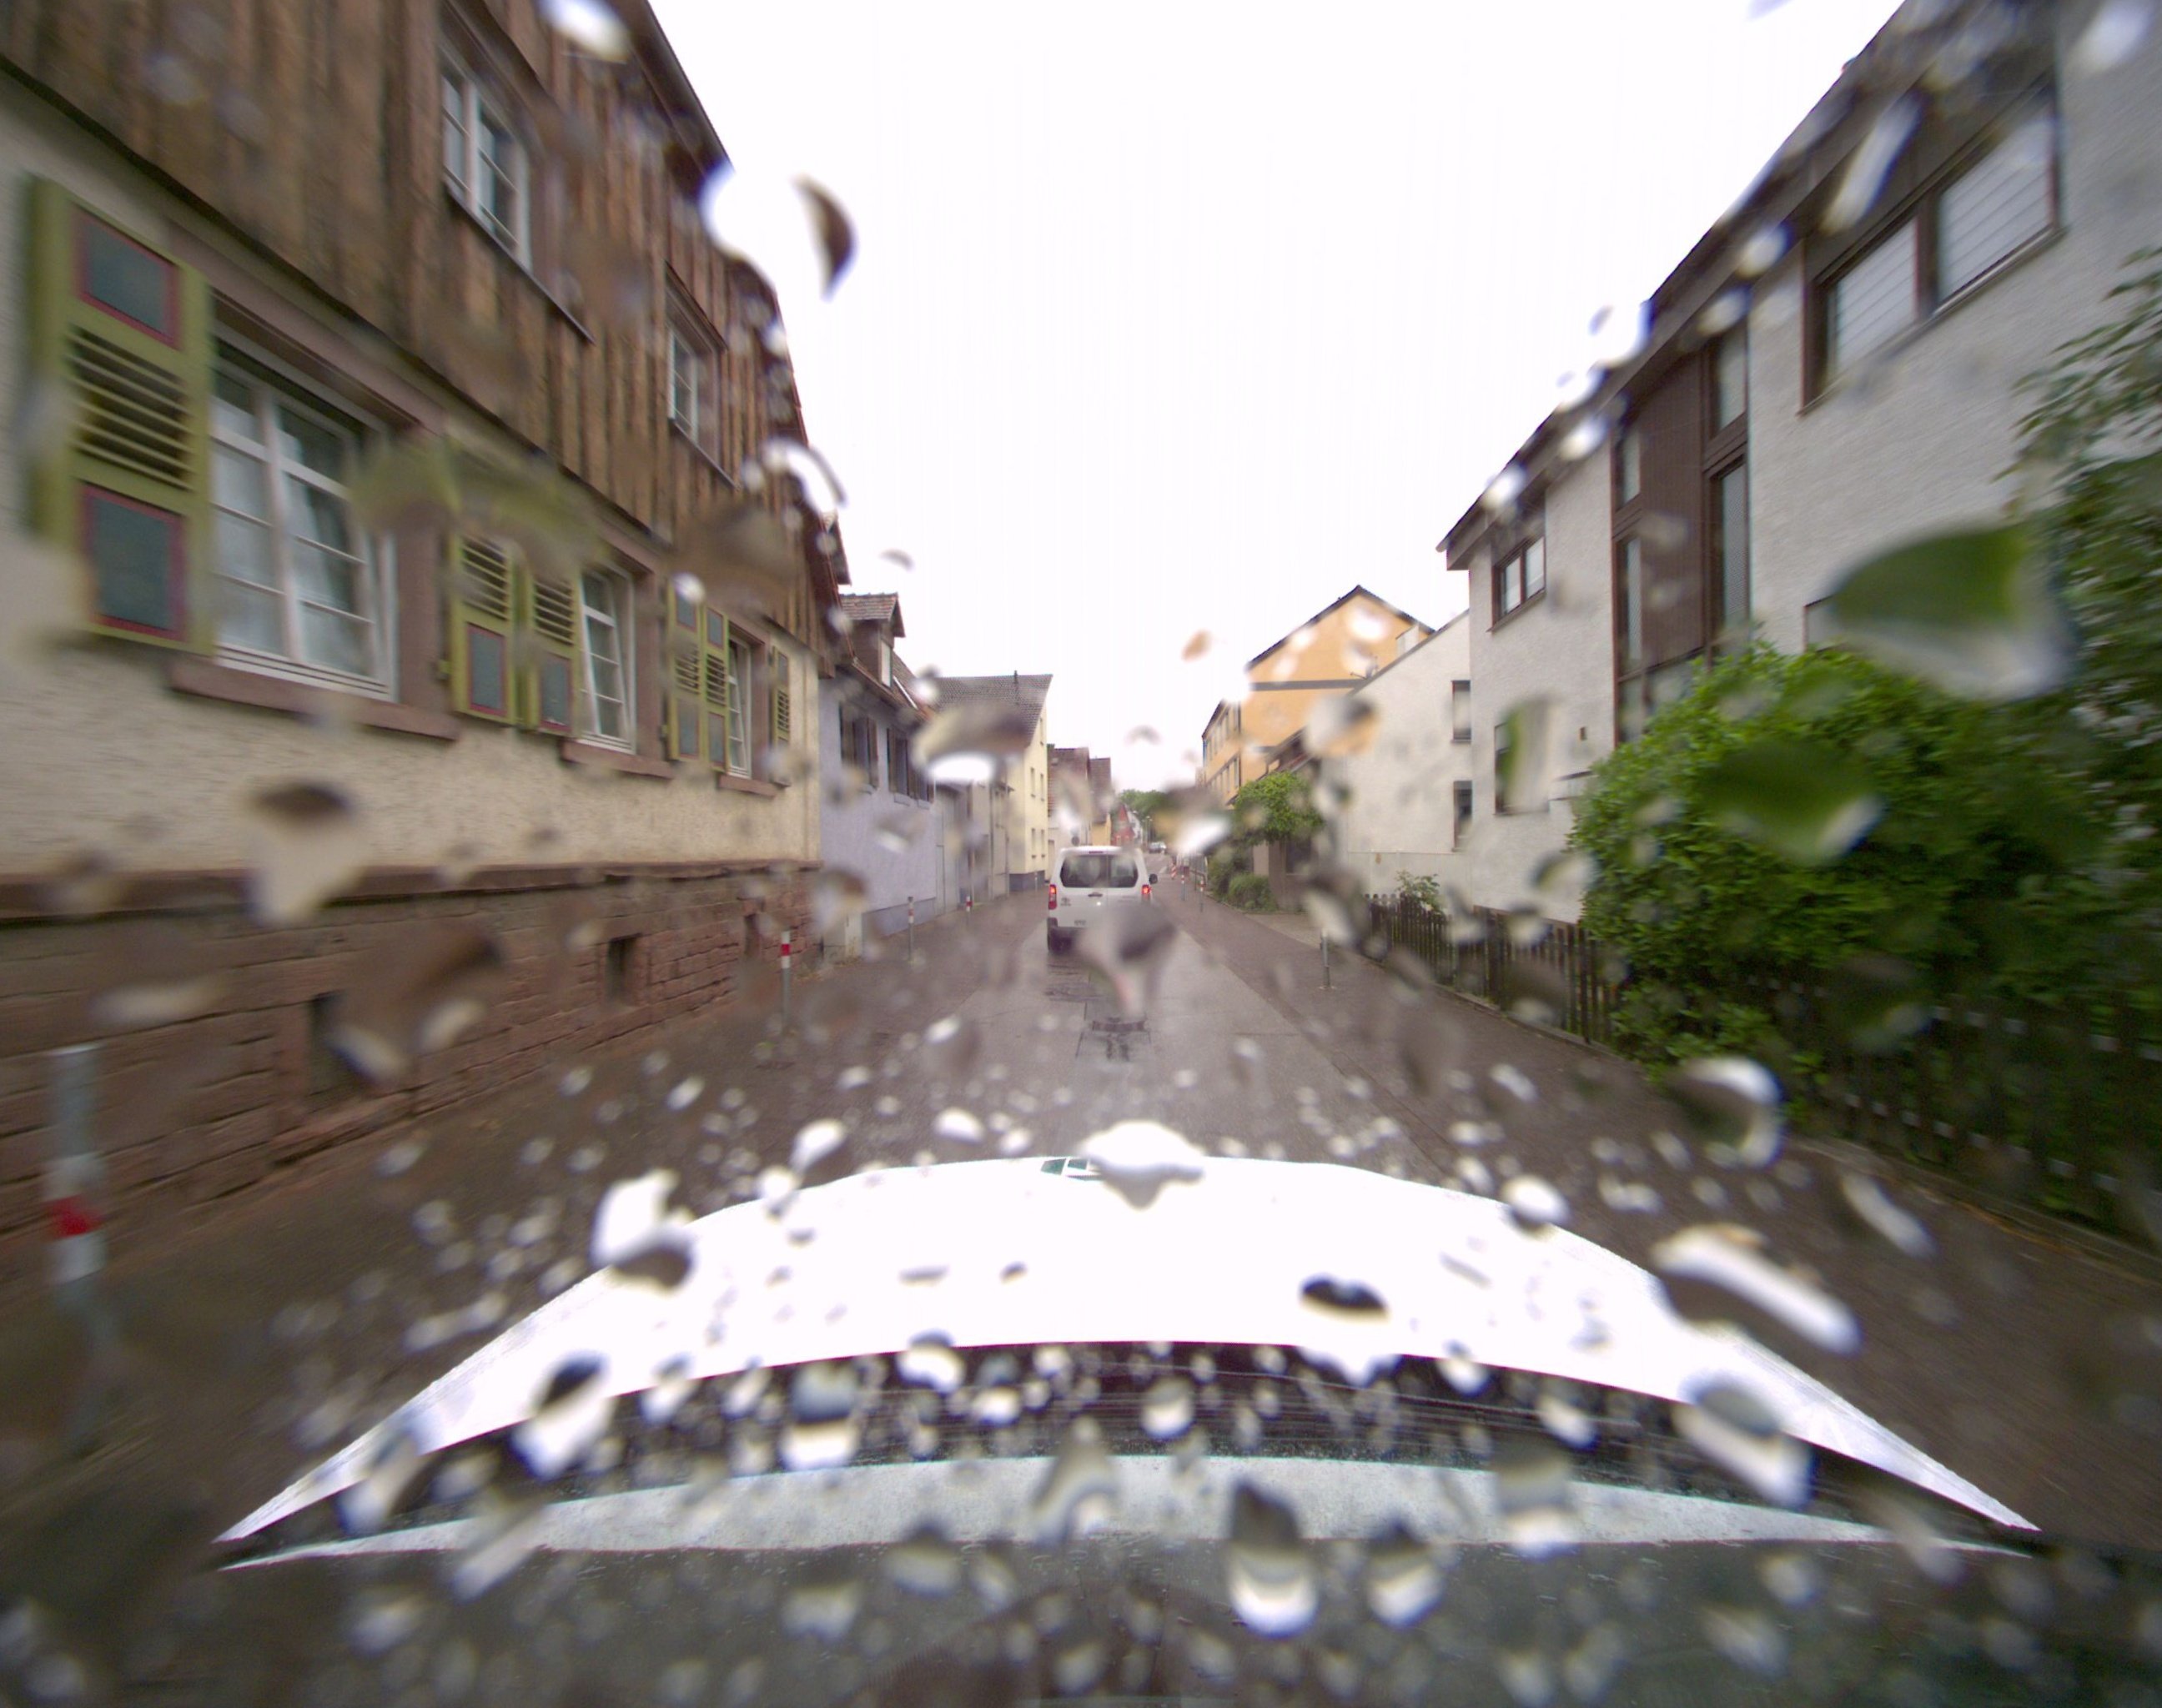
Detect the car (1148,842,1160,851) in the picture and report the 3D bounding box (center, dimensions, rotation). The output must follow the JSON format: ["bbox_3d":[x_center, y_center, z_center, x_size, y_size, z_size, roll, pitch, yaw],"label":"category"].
[{"bbox_3d":[12.372,-1.213,138.187,1.579,1.441,3.776,1,0,10],"label":"car"}]

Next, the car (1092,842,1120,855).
[{"bbox_3d":[3.492,-0.824,114.644,3.433,1.559,1.986,-5,1,-21],"label":"car"}]

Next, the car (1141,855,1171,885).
[{"bbox_3d":[5.352,1.099,57.895,1.983,2.014,4.007,-2,-1,6],"label":"car"}]

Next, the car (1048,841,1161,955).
[{"bbox_3d":[0.476,0.721,15.117,1.767,1.780,4.002,-2,-1,3],"label":"car"}]

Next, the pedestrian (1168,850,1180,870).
[{"bbox_3d":[8.883,0.549,78.071,1.046,1.893,0.878,-2,-1,2],"label":"pedestrian"}]
